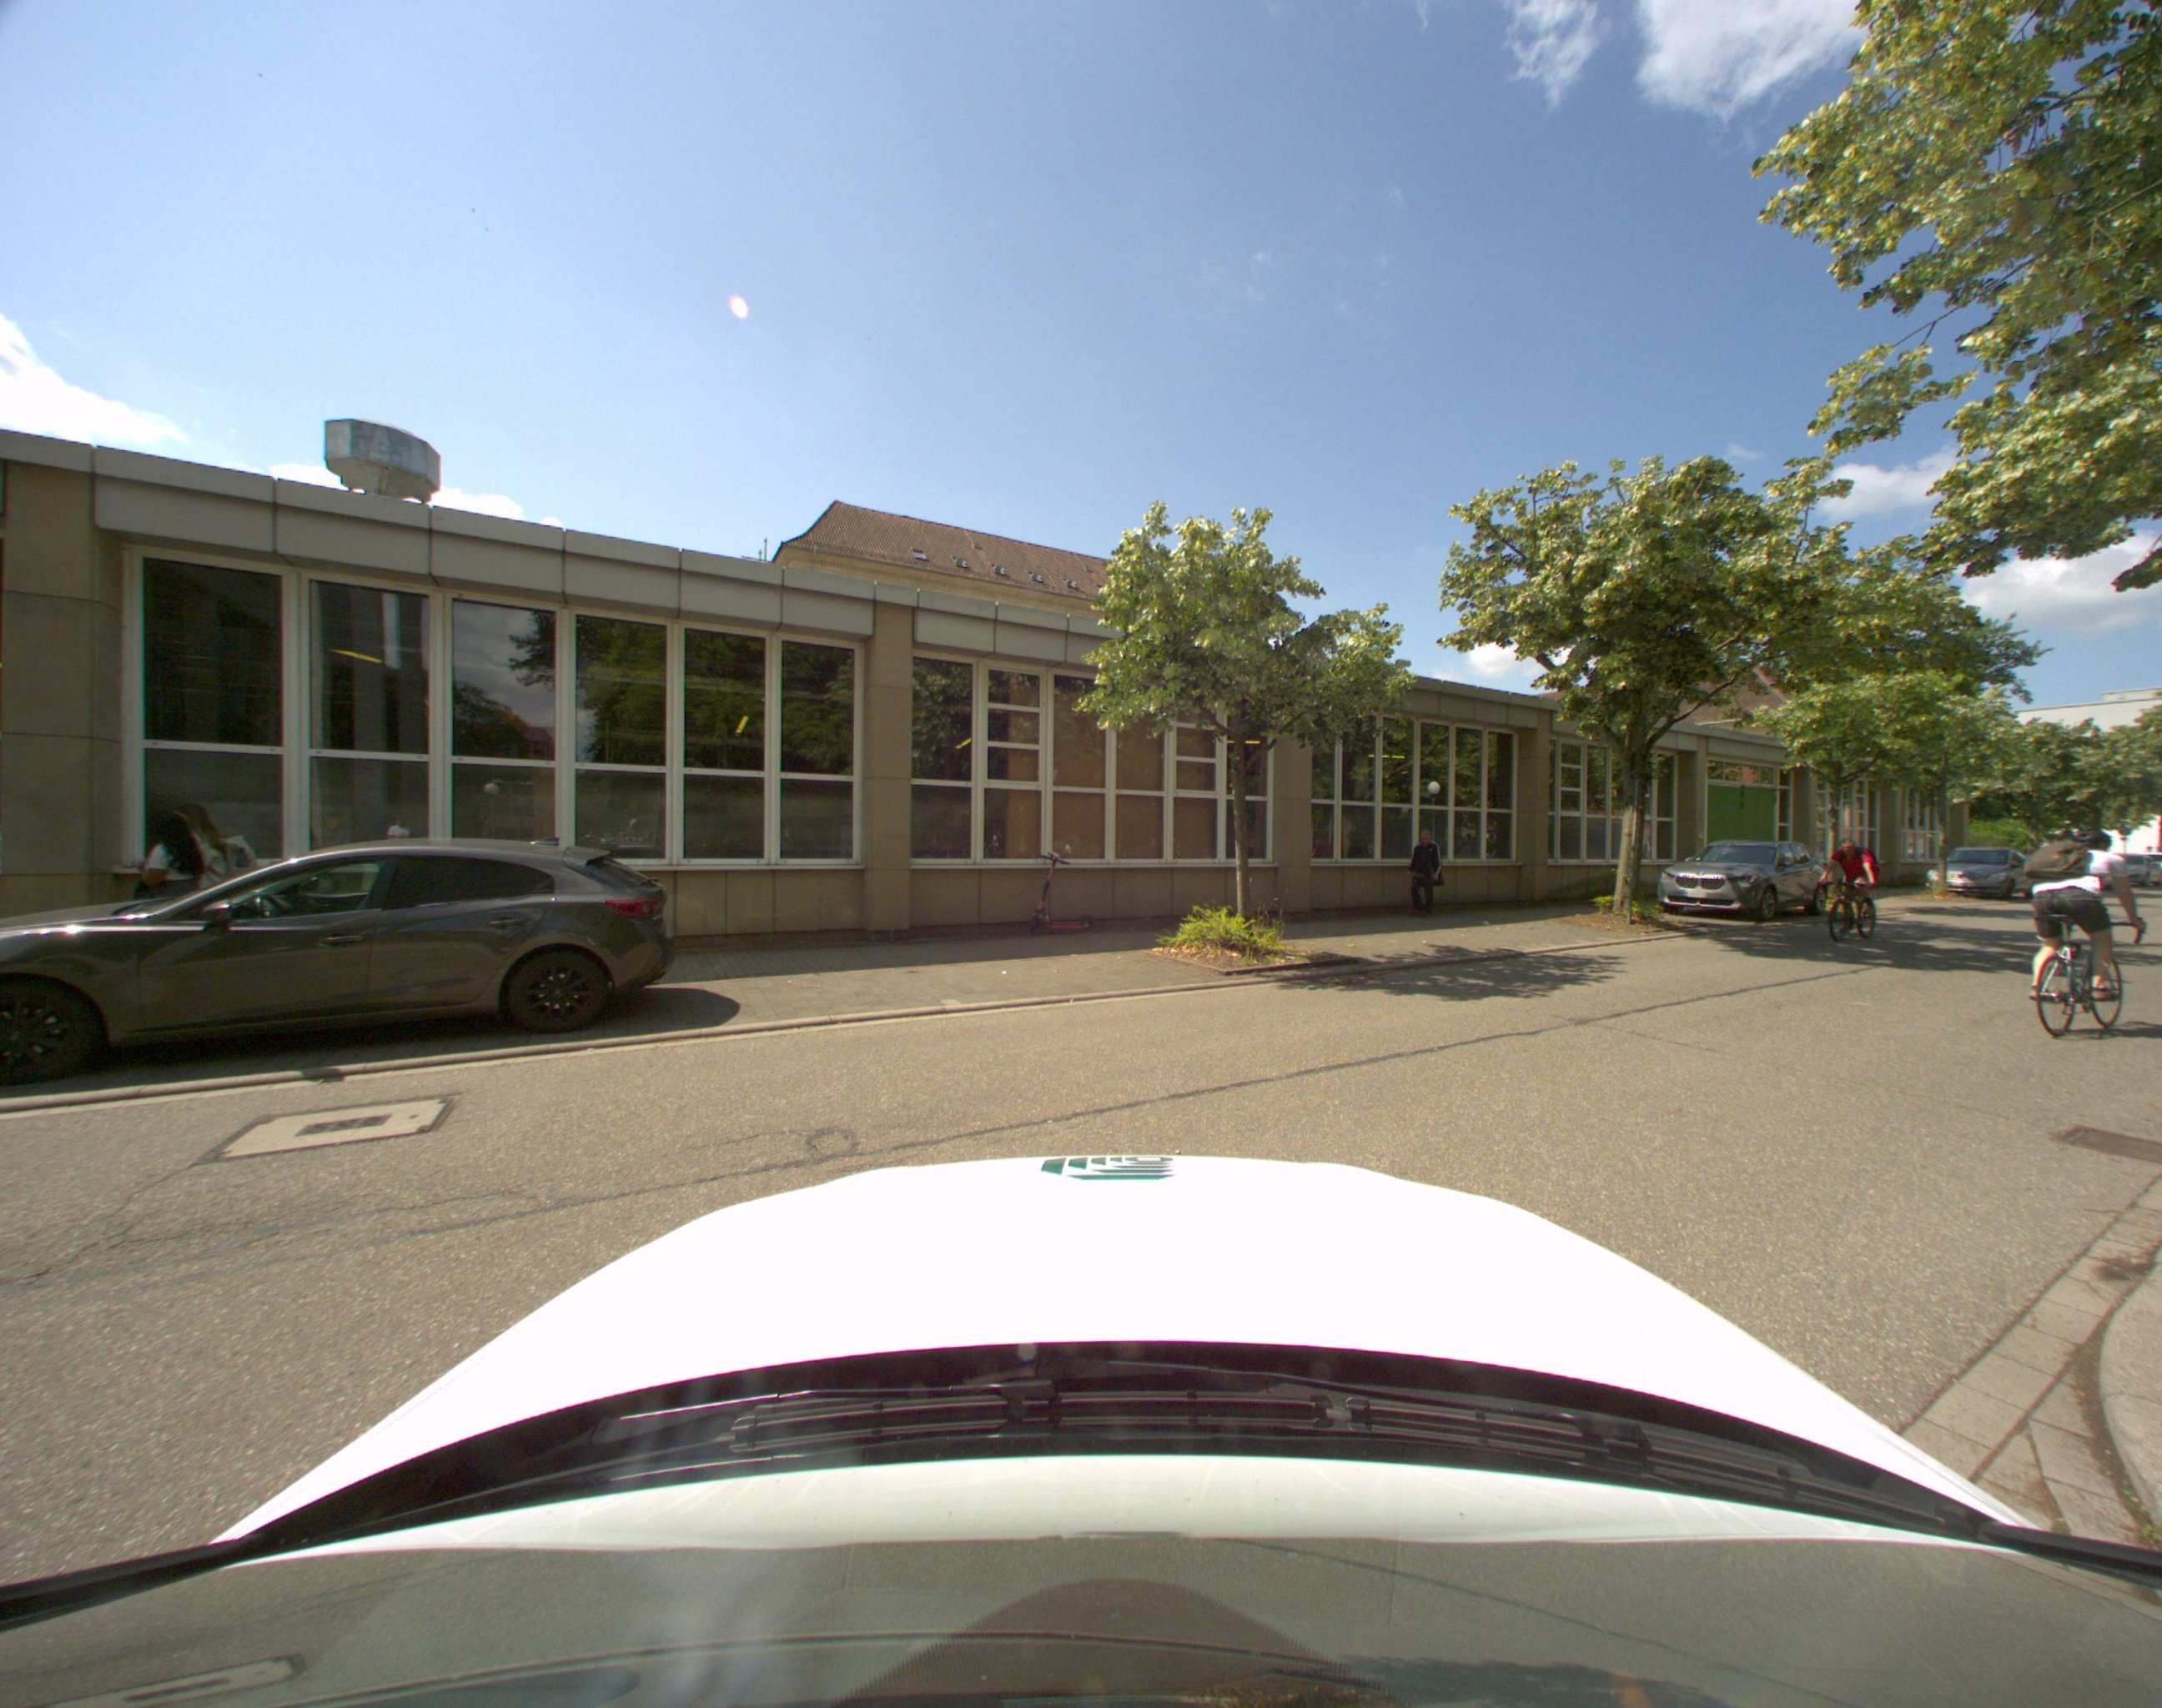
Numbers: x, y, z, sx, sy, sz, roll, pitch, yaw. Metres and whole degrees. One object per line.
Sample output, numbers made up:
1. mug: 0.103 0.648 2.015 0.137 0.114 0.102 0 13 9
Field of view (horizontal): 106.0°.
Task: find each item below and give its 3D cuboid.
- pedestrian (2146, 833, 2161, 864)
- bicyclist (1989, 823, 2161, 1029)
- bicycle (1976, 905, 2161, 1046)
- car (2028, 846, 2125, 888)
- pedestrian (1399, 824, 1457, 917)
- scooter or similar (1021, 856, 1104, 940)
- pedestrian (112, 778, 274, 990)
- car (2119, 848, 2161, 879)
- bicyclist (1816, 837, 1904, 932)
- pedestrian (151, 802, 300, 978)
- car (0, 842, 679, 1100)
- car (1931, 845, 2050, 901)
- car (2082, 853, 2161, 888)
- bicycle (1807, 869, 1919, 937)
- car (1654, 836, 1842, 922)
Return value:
1. pedestrian: 61.285 -0.293 46.094 0.695 1.739 0.985 1 1 5
2. bicyclist: 8.758 0.575 7.150 1.097 1.661 0.713 0 3 -26
3. bicycle: 8.776 1.004 7.162 1.914 0.993 0.703 0 3 -27
4. car: 38.297 0.472 31.306 4.598 1.456 1.714 0 3 -31
5. pedestrian: 6.887 0.307 16.189 0.672 1.786 0.783 -1 2 -28
6. scooter or similar: -0.280 0.660 12.616 1.250 1.207 0.380 -1 3 -31
7. pedestrian: -7.677 0.238 7.080 0.800 1.728 0.596 0 1 -30
8. car: 51.014 0.437 38.619 3.818 1.411 1.652 0 2 -30
9. bicyclist: 13.179 0.492 13.777 0.962 1.543 0.830 0 0 -29
10. pedestrian: -7.974 0.313 7.631 0.800 1.541 0.658 0 1 -30
11. car: -5.559 0.674 6.276 4.303 1.435 1.715 -1 3 -30
12. car: 28.592 0.542 25.581 4.127 1.556 1.746 0 2 -31
13. car: 45.592 0.682 35.484 4.175 1.343 1.716 0 3 -28
14. bicycle: 13.164 0.825 13.700 1.936 1.042 0.811 4 -1 -29
15. car: 14.749 0.472 17.946 4.533 1.632 1.810 0 3 -32
